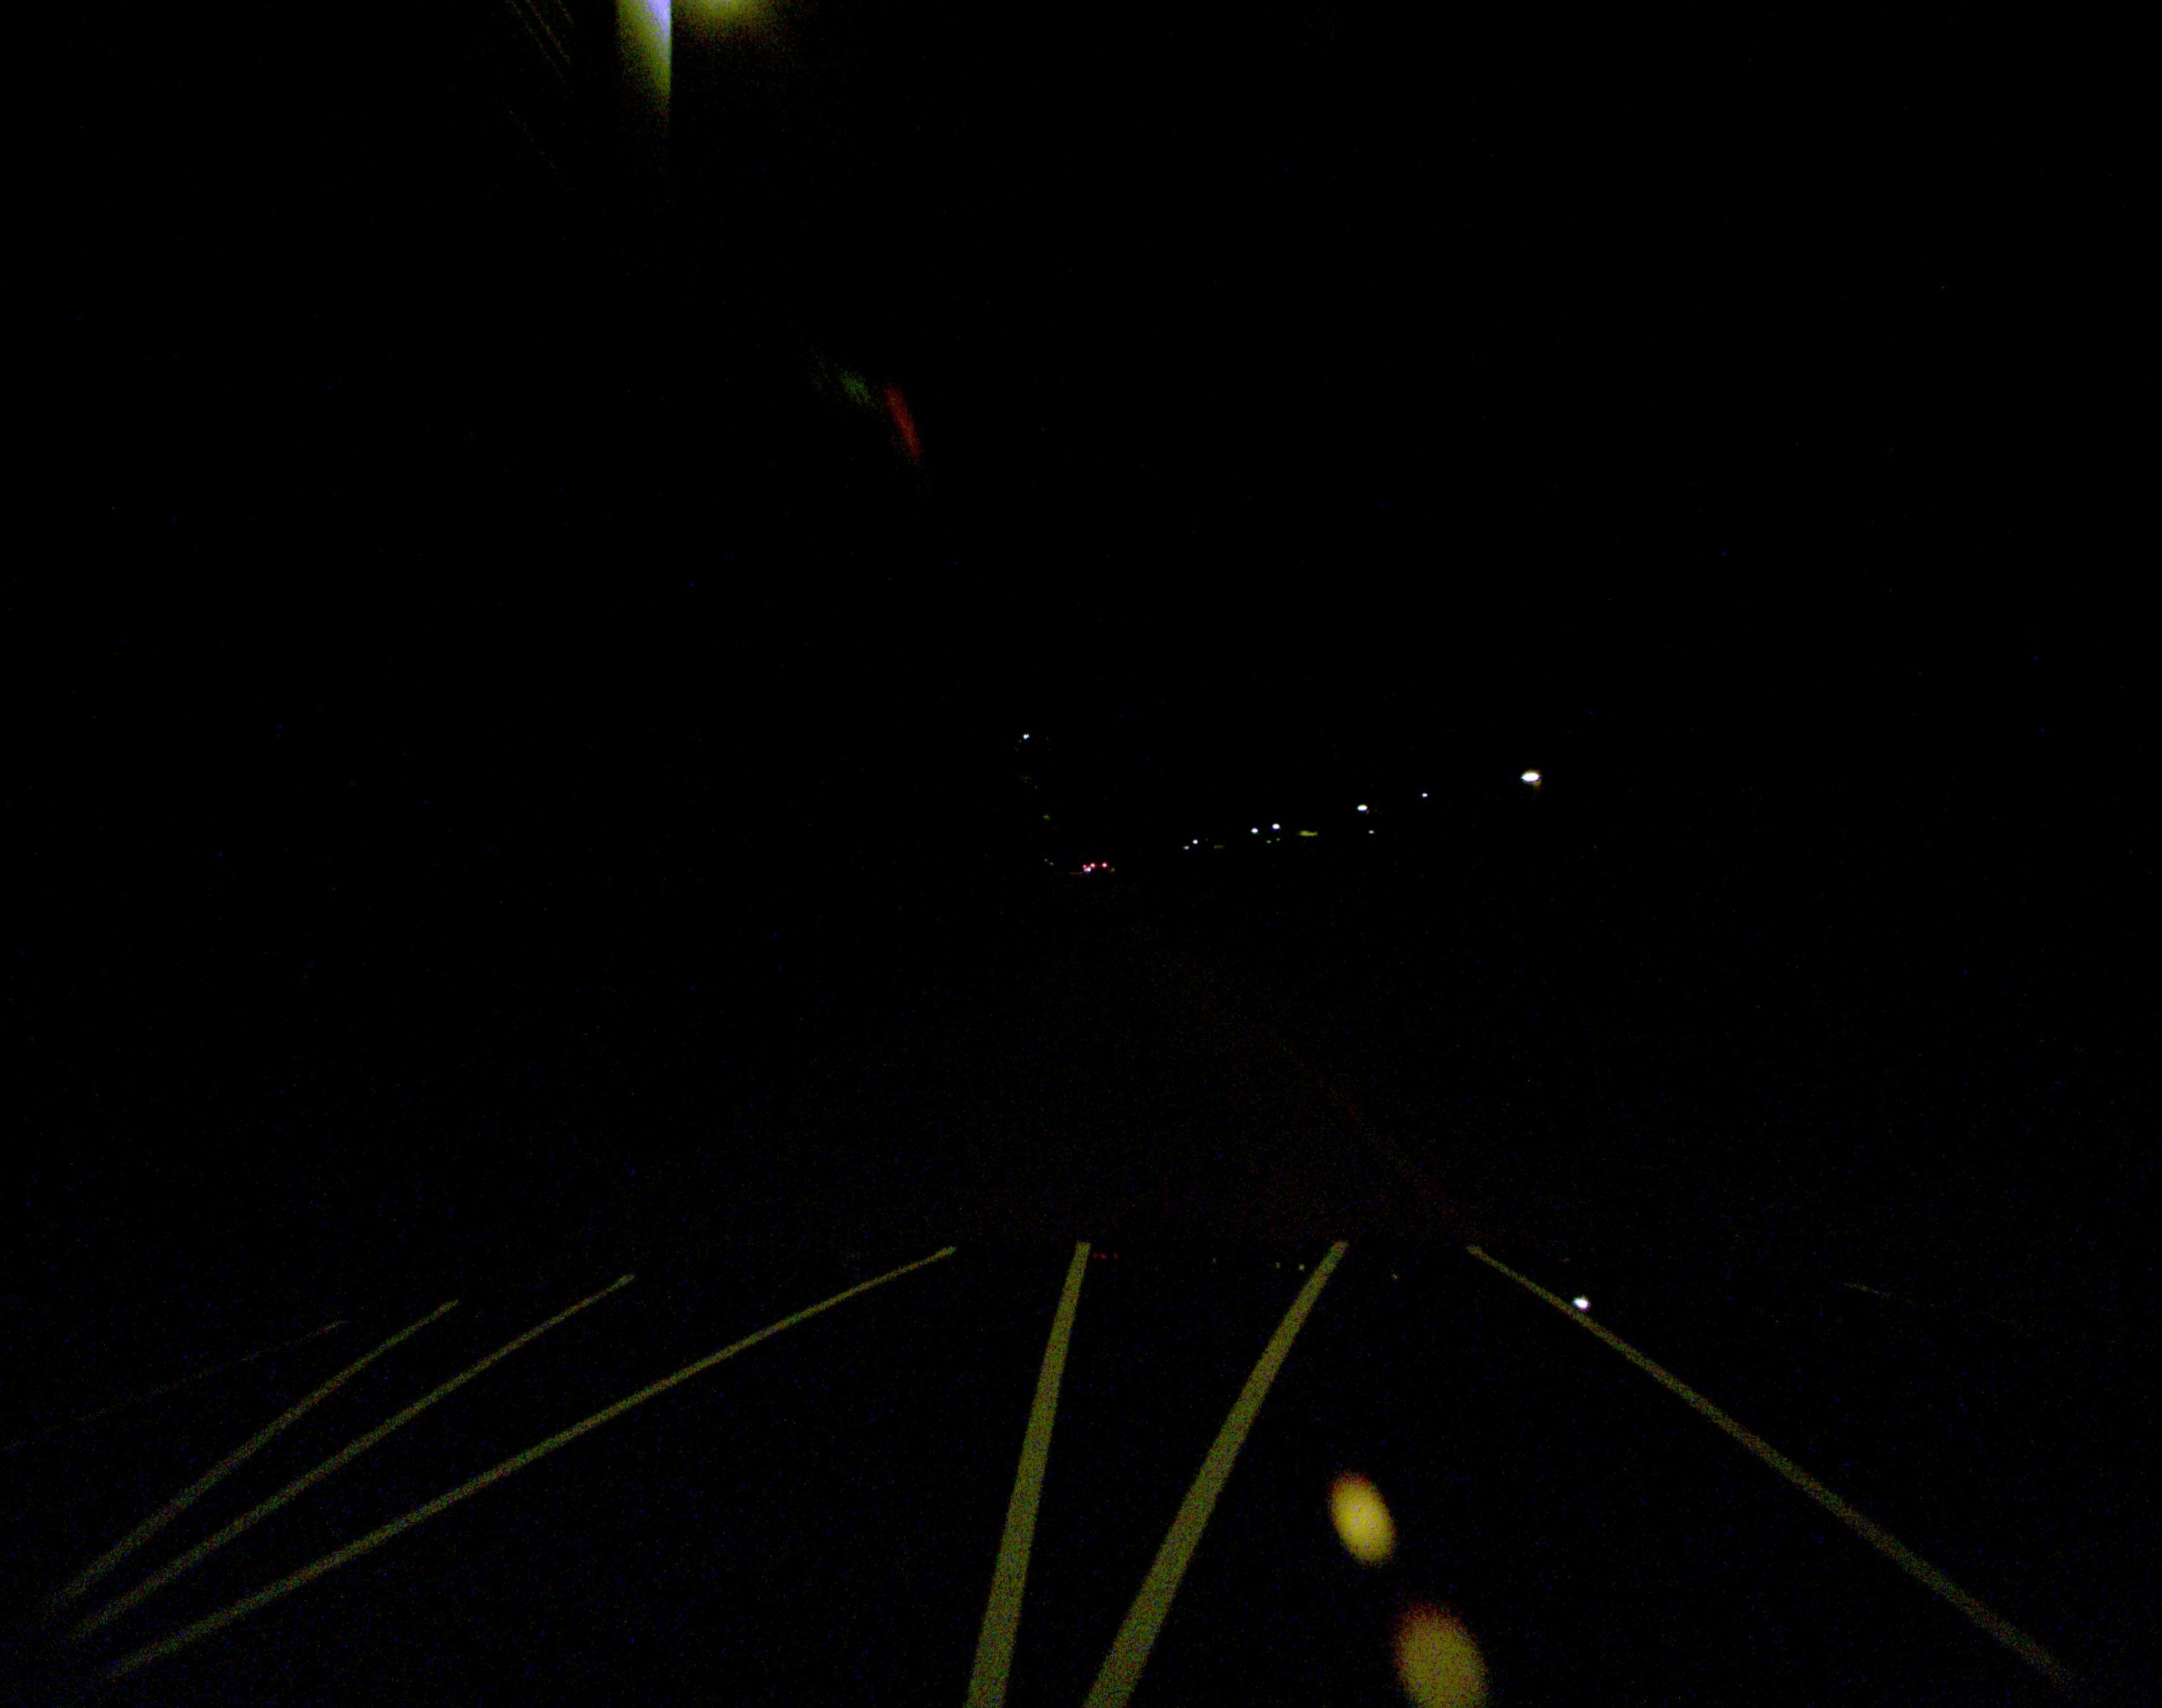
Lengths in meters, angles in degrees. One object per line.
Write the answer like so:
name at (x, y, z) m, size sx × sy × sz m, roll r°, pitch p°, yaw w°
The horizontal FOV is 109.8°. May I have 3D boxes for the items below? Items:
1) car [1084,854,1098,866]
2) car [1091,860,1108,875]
car at (1.271, 0.779, 98.770) m, size 1.692 × 1.449 × 3.999 m, roll -2°, pitch 0°, yaw 0°
car at (1.967, 1.449, 83.371) m, size 1.651 × 1.483 × 3.557 m, roll -2°, pitch 0°, yaw -1°
